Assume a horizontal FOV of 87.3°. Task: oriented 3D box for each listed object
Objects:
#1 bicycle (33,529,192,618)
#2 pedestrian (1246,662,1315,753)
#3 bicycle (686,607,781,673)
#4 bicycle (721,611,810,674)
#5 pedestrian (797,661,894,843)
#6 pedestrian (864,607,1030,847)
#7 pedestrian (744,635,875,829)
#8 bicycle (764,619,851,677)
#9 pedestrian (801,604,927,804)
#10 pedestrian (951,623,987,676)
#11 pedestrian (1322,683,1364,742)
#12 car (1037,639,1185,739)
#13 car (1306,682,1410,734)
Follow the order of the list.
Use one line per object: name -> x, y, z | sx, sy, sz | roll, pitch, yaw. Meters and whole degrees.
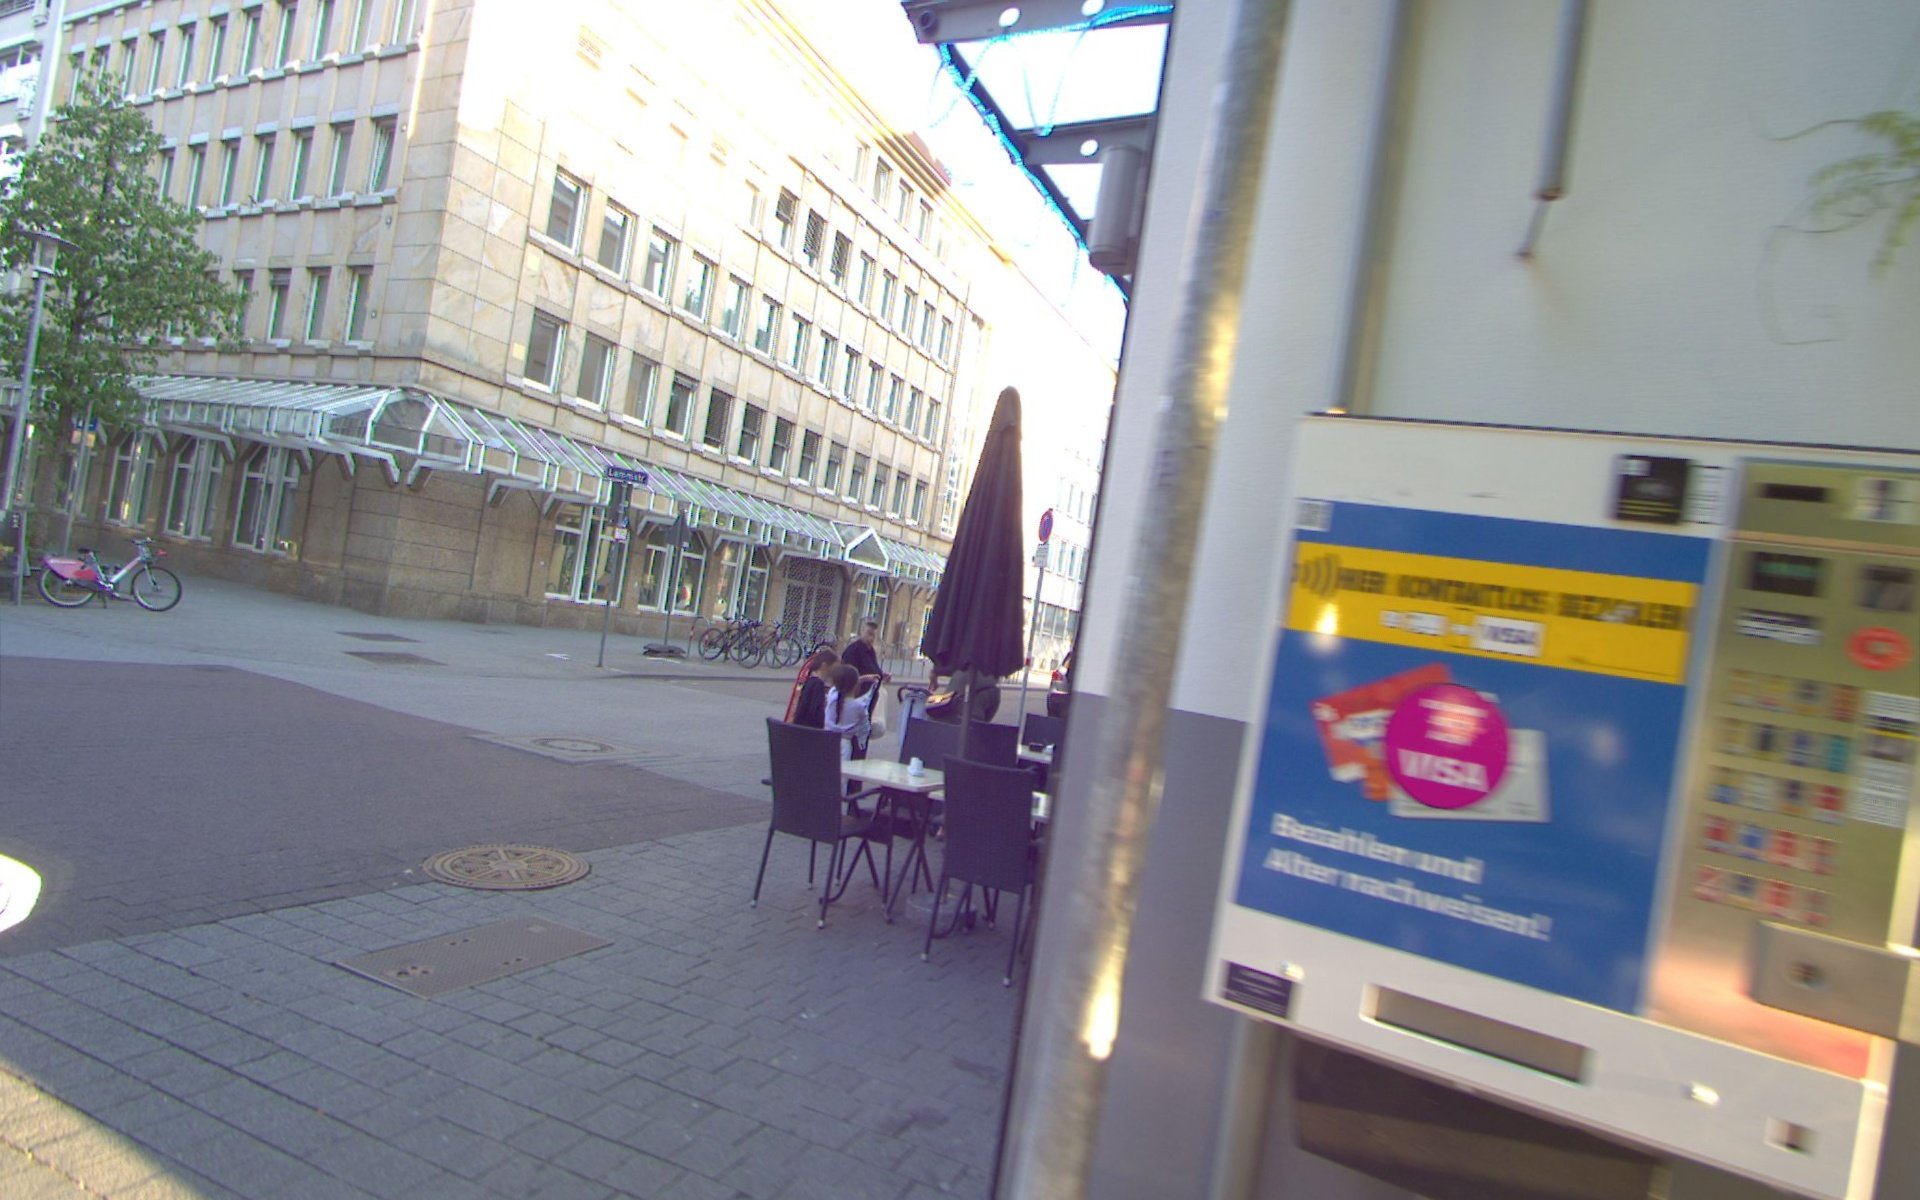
bicycle -> -12.213, -0.367, 14.528 | 0.654, 1.064, 1.652 | 10, 2, 44
pedestrian -> 7.654, 2.552, 24.091 | 1.198, 1.960, 0.892 | 8, -1, 11
bicycle -> -4.798, 0.834, 21.236 | 1.915, 1.063, 0.544 | 10, 0, 27
bicycle -> -4.341, 0.931, 22.399 | 1.915, 1.063, 0.544 | 10, 0, 29
pedestrian -> -0.790, 1.024, 6.878 | 0.405, 1.137, 0.471 | 9, 0, -19
pedestrian -> -0.094, 0.899, 7.315 | 0.782, 1.553, 0.619 | 8, -1, 37
pedestrian -> -1.078, 0.935, 7.294 | 0.505, 1.261, 0.665 | 8, -1, 21
bicycle -> -3.584, 1.124, 23.586 | 1.914, 1.040, 0.513 | 9, 0, 25
pedestrian -> -0.805, 0.870, 8.637 | 0.704, 1.548, 0.724 | 9, 0, 9
pedestrian -> 0.324, 1.772, 35.756 | 0.759, 1.751, 0.915 | 8, -1, 26
pedestrian -> 12.239, 3.589, 32.158 | 0.926, 1.724, 0.890 | 8, -1, 29
car -> 3.219, 1.832, 20.760 | 1.773, 1.607, 3.940 | 8, -1, 25
car -> 17.569, 4.756, 44.455 | 3.907, 1.635, 1.850 | 8, -1, 30
